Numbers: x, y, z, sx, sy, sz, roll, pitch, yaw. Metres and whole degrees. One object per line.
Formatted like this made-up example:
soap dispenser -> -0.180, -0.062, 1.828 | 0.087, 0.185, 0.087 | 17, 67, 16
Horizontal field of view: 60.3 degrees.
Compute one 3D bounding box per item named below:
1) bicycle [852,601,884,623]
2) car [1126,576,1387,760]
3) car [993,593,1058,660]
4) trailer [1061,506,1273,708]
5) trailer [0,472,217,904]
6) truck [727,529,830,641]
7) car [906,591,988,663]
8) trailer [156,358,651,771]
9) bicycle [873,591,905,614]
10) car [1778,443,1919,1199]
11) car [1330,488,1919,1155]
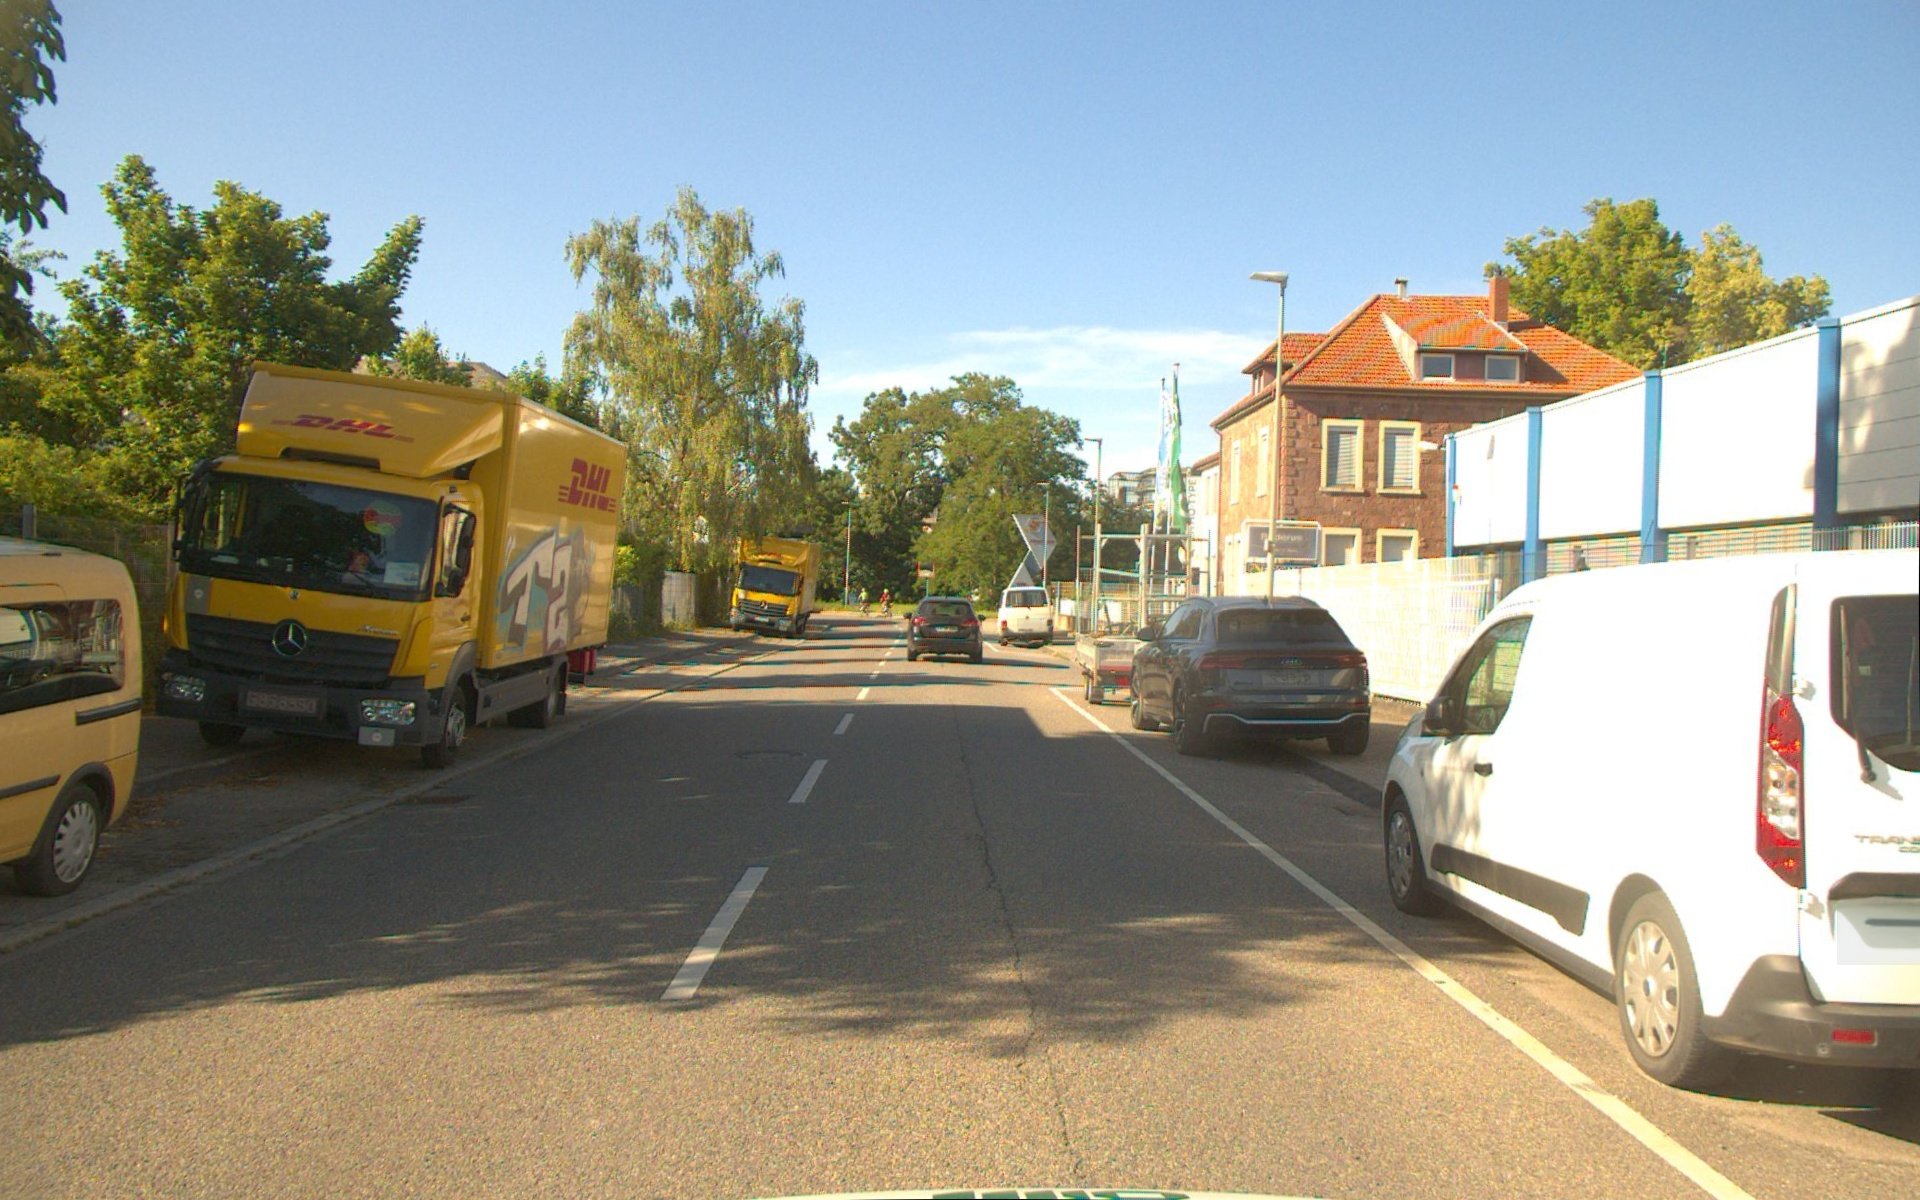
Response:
bicycle -> -5.727, 0.746, 102.689 | 0.798, 1.242, 2.226 | 4, -1, -40
car -> 3.154, 0.706, 18.628 | 1.954, 1.696, 4.730 | 3, -1, -1
car -> 2.181, 0.895, 56.099 | 1.836, 2.049, 5.159 | 3, -1, -1
trailer -> 3.034, 0.122, 25.614 | 2.410, 2.719, 5.700 | 1, -1, -1
trailer -> -5.362, 0.388, 7.545 | 1.953, 1.976, 4.414 | 1, -1, -1
truck -> -6.676, -0.572, 62.030 | 2.580, 3.564, 8.655 | 7, 1, -1
car -> -0.297, 0.610, 38.725 | 1.809, 1.557, 4.000 | 1, 0, 0
trailer -> -5.590, -0.267, 18.457 | 2.931, 3.503, 8.157 | 2, -1, -2
bicycle -> -4.293, 0.172, 99.486 | 0.797, 1.290, 2.230 | 4, -1, -35
car -> 3.259, 0.576, 2.040 | 1.847, 1.879, 5.102 | 3, -1, -1
car -> 3.192, 0.701, 7.280 | 1.818, 1.862, 5.167 | 3, -1, -1
